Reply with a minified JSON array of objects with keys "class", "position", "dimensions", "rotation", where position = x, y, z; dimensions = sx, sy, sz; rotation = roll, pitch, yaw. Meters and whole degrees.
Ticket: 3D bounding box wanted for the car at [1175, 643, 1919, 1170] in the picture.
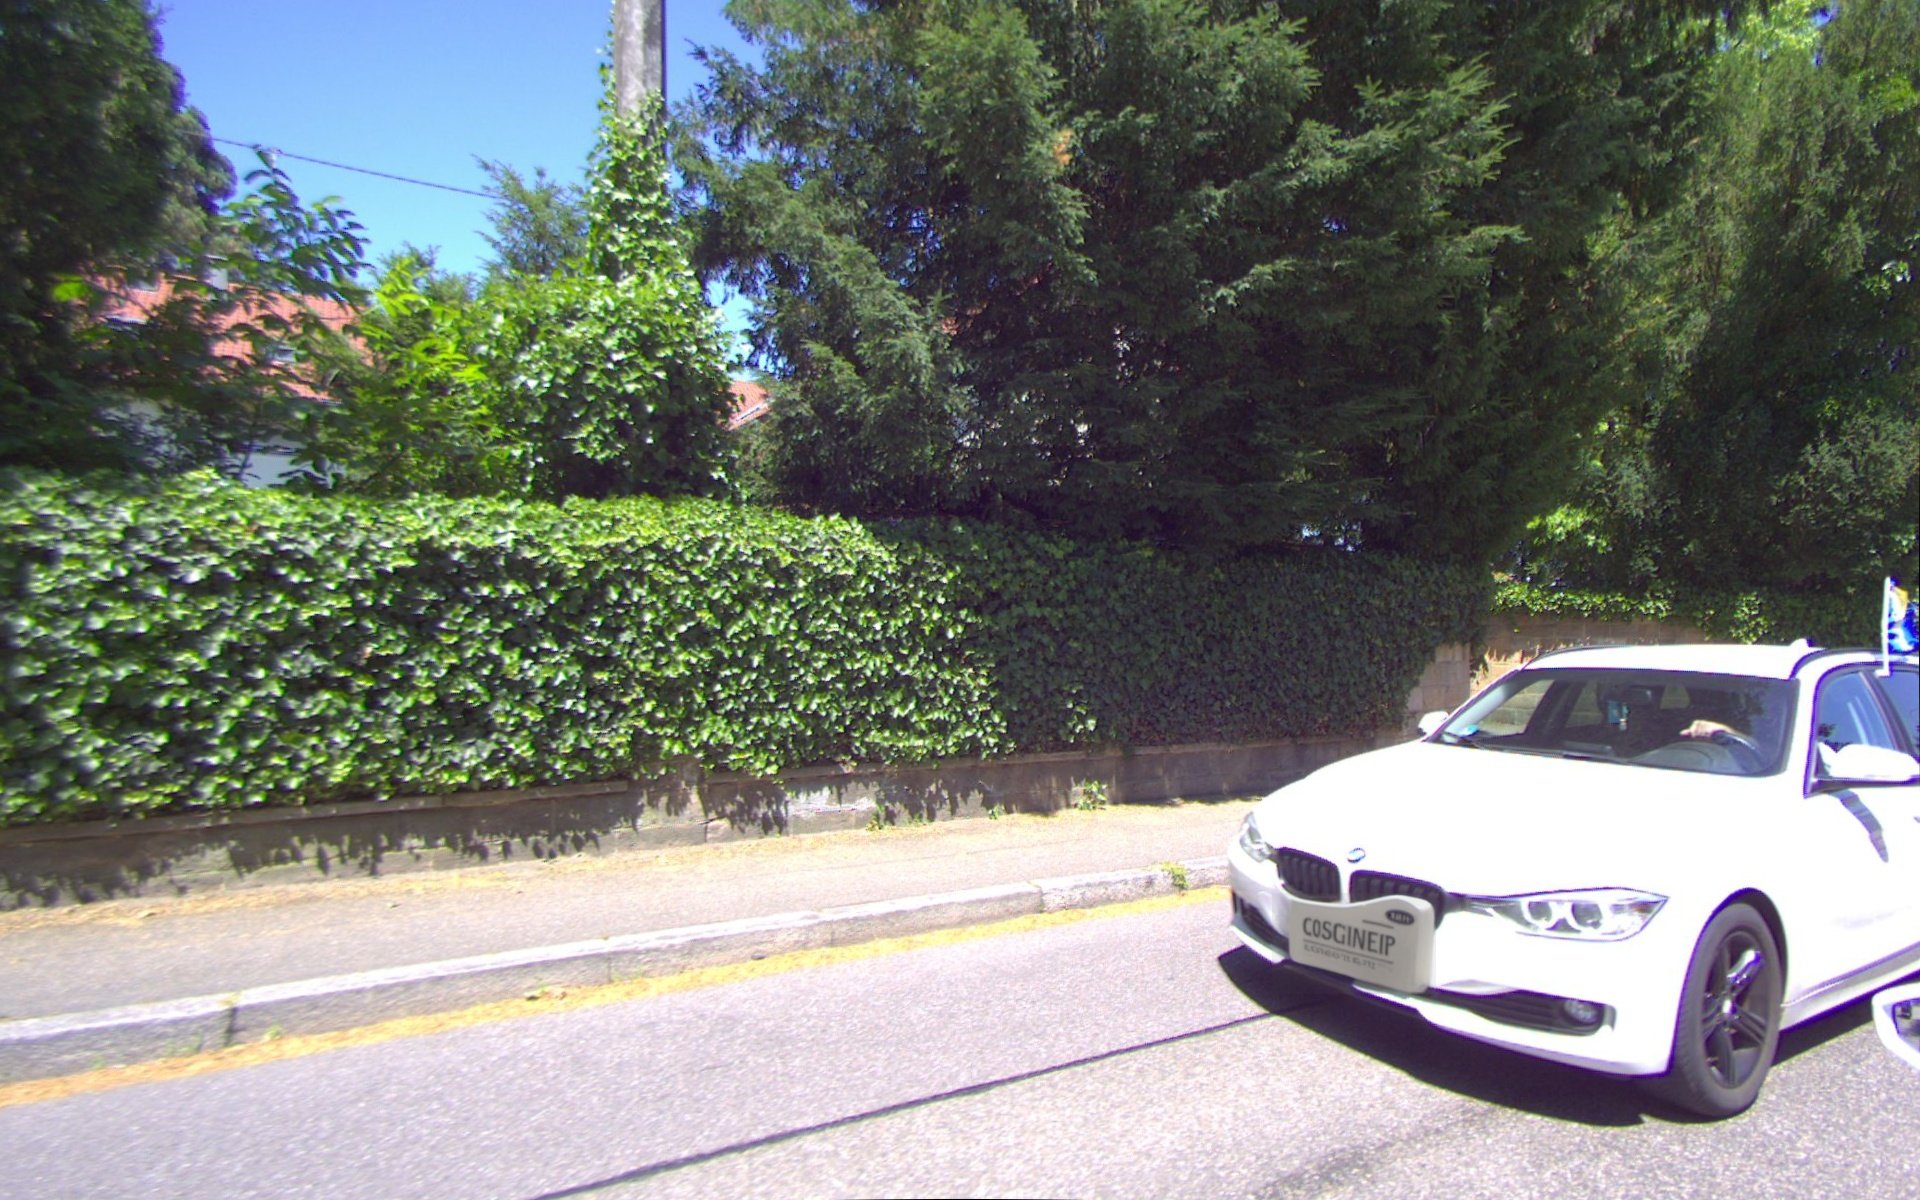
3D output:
[{"class":"car","position":[3.352,0.917,4.706],"dimensions":[4.550,1.402,1.856],"rotation":[1,-2,-30]}]
